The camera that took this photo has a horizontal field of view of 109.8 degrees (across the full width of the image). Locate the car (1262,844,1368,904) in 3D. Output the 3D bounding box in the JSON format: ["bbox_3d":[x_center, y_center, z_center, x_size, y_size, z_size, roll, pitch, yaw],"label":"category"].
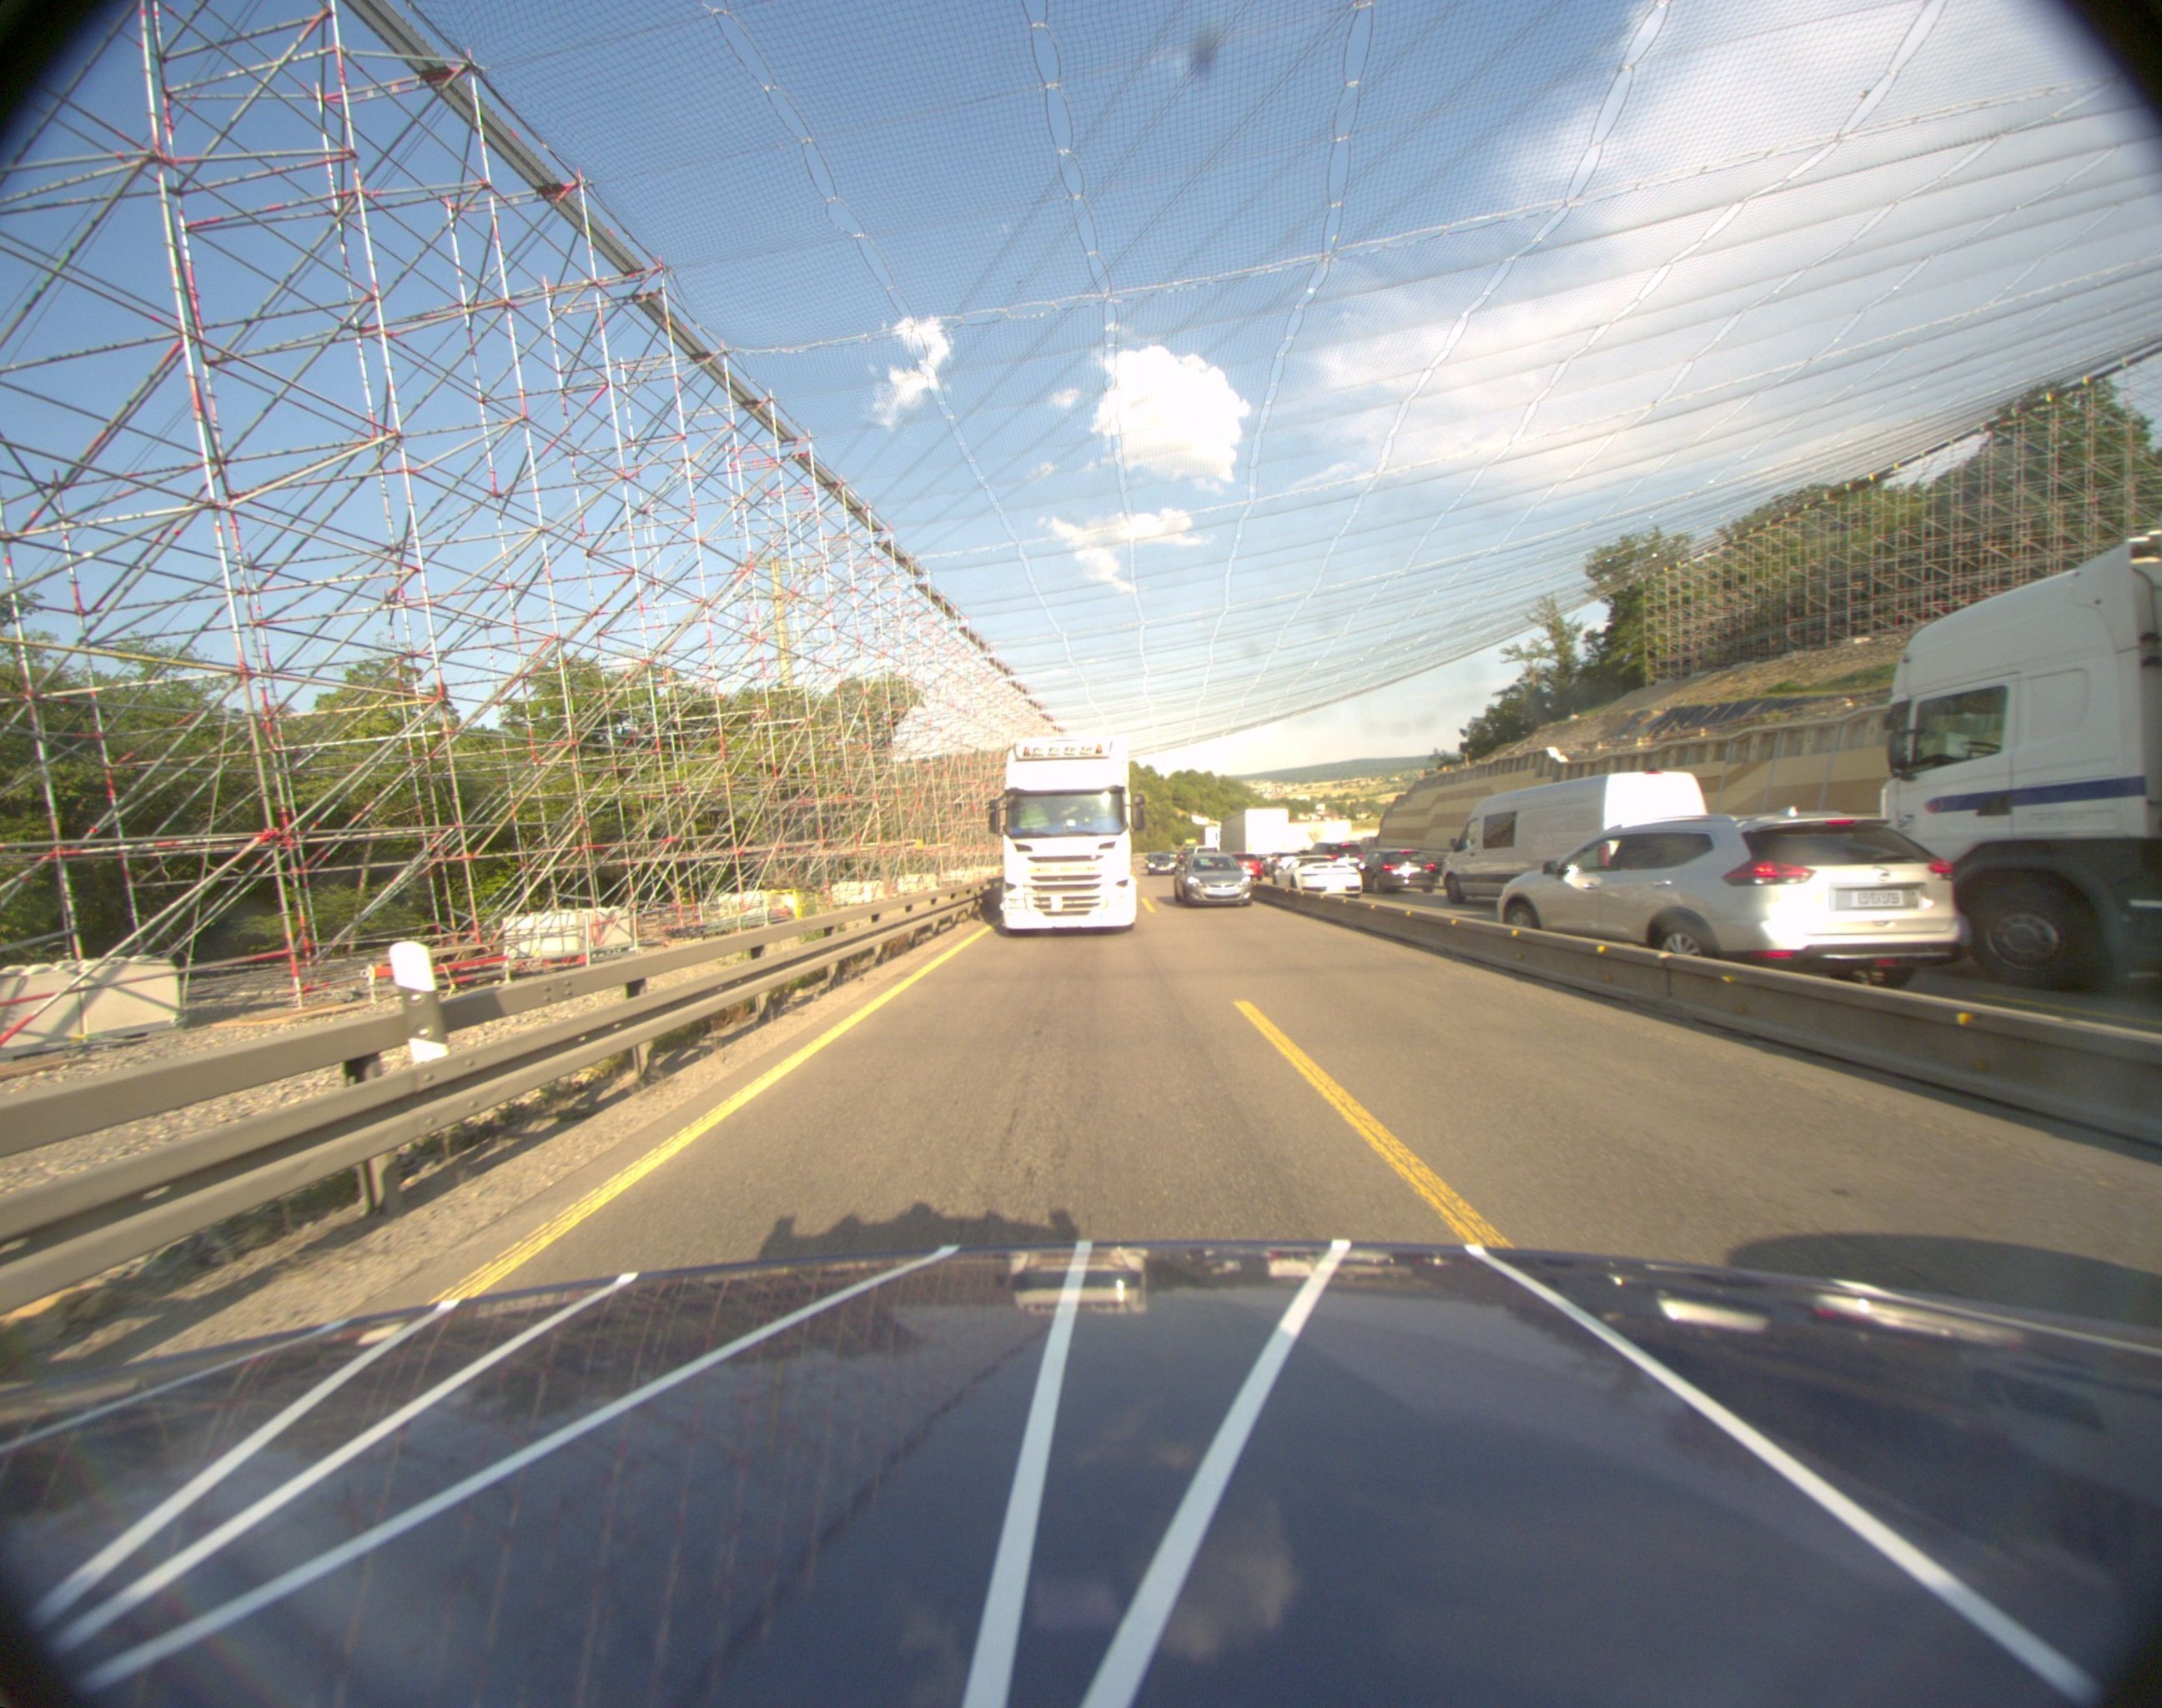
[{"bbox_3d":[6.923,0.531,22.983,1.813,1.559,4.365,-2,1,0],"label":"car"}]

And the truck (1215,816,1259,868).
[{"bbox_3d":[12.519,-0.968,61.379,2.521,3.885,6.050,-2,1,4],"label":"truck"}]

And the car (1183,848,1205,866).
[{"bbox_3d":[10.552,0.262,71.089,1.585,1.543,4.219,-2,1,3],"label":"car"}]

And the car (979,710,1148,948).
[{"bbox_3d":[-0.170,-0.467,17.549,2.858,4.092,8.281,-2,1,2],"label":"car"}]

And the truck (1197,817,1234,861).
[{"bbox_3d":[15.609,-1.724,89.615,2.993,4.532,17.413,-2,1,6],"label":"truck"}]

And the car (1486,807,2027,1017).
[{"bbox_3d":[6.383,0.432,8.042,1.813,1.559,4.365,-2,1,0],"label":"car"}]

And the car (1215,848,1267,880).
[{"bbox_3d":[7.943,0.448,38.101,1.812,1.411,4.518,-2,1,2],"label":"car"}]

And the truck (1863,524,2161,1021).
[{"bbox_3d":[9.773,-0.658,4.602,2.637,3.887,7.204,-2,1,0],"label":"truck"}]

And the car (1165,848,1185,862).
[{"bbox_3d":[10.711,0.081,86.856,1.939,1.525,4.646,-2,1,4],"label":"car"}]

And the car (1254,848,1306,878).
[{"bbox_3d":[11.022,0.449,42.462,1.796,1.531,4.910,-2,1,3],"label":"car"}]

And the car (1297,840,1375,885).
[{"bbox_3d":[10.723,0.296,32.387,1.828,1.717,4.937,-2,1,3],"label":"car"}]

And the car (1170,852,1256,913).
[{"bbox_3d":[3.585,0.720,21.368,1.760,1.464,4.353,-2,1,2],"label":"car"}]

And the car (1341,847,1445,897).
[{"bbox_3d":[10.075,0.526,24.909,1.796,1.429,4.381,-2,1,3],"label":"car"}]

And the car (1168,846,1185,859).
[{"bbox_3d":[12.230,-0.183,97.398,1.938,1.510,4.980,-2,1,6],"label":"car"}]

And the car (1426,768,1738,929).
[{"bbox_3d":[10.237,-0.127,16.635,2.247,2.697,7.082,-2,1,1],"label":"car"}]

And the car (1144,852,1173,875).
[{"bbox_3d":[5.088,0.582,50.257,1.764,1.376,3.823,-2,1,5],"label":"car"}]

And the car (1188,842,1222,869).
[{"bbox_3d":[9.081,0.076,55.963,1.812,1.858,5.282,-2,1,3],"label":"car"}]

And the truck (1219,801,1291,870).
[{"bbox_3d":[12.165,-1.233,54.558,2.727,4.202,14.170,-2,1,4],"label":"truck"}]
